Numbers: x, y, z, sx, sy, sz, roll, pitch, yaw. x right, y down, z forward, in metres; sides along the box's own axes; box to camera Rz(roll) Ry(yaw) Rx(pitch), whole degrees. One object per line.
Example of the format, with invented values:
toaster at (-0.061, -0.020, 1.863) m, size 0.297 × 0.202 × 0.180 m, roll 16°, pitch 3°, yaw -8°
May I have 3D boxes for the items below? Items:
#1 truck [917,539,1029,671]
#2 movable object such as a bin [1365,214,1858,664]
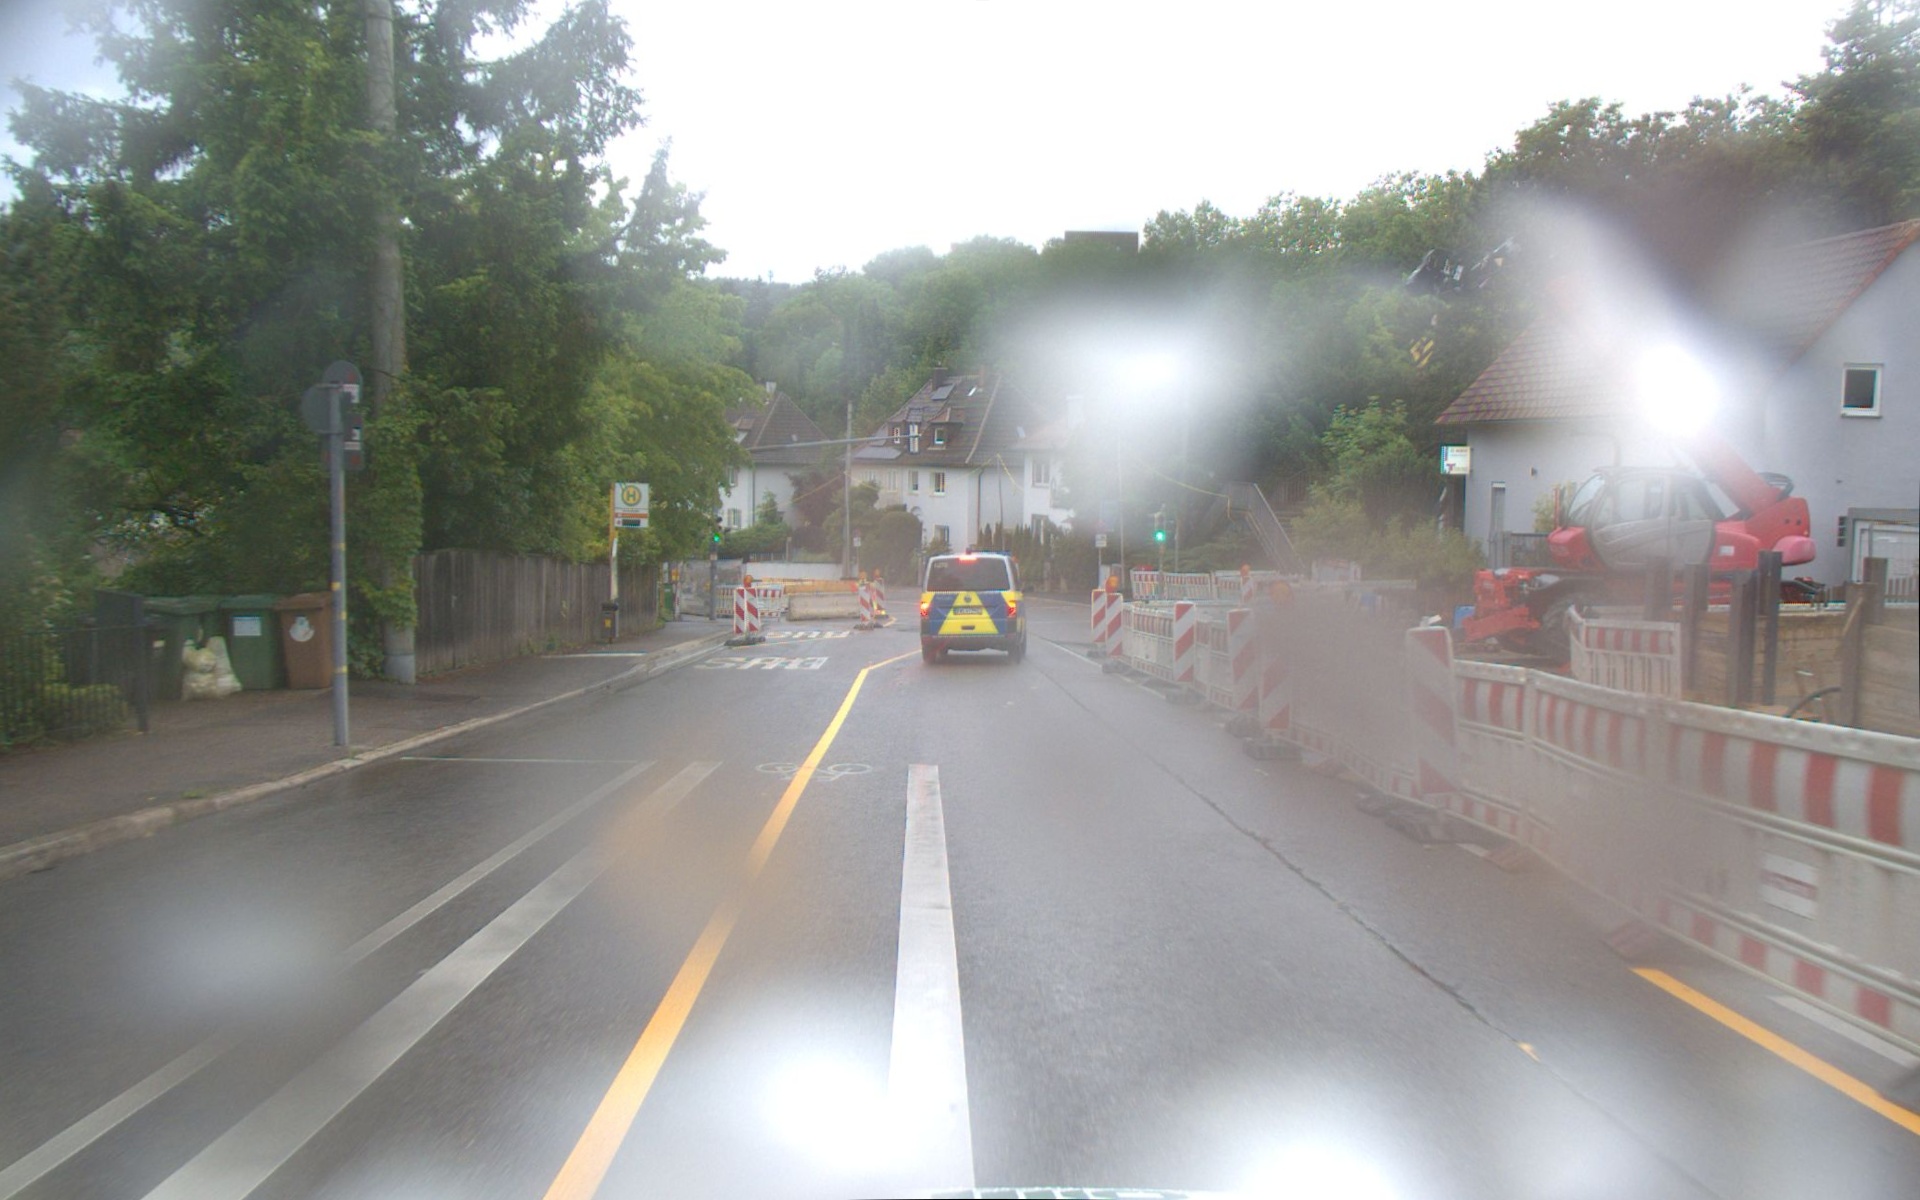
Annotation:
truck at (0.222, 0.001, 31.469) m, size 1.953 × 2.047 × 4.737 m, roll -1°, pitch 5°, yaw 0°
movable object such as a bin at (10.431, -2.442, 26.940) m, size 6.815 × 6.806 × 3.042 m, roll 0°, pitch 0°, yaw -6°
